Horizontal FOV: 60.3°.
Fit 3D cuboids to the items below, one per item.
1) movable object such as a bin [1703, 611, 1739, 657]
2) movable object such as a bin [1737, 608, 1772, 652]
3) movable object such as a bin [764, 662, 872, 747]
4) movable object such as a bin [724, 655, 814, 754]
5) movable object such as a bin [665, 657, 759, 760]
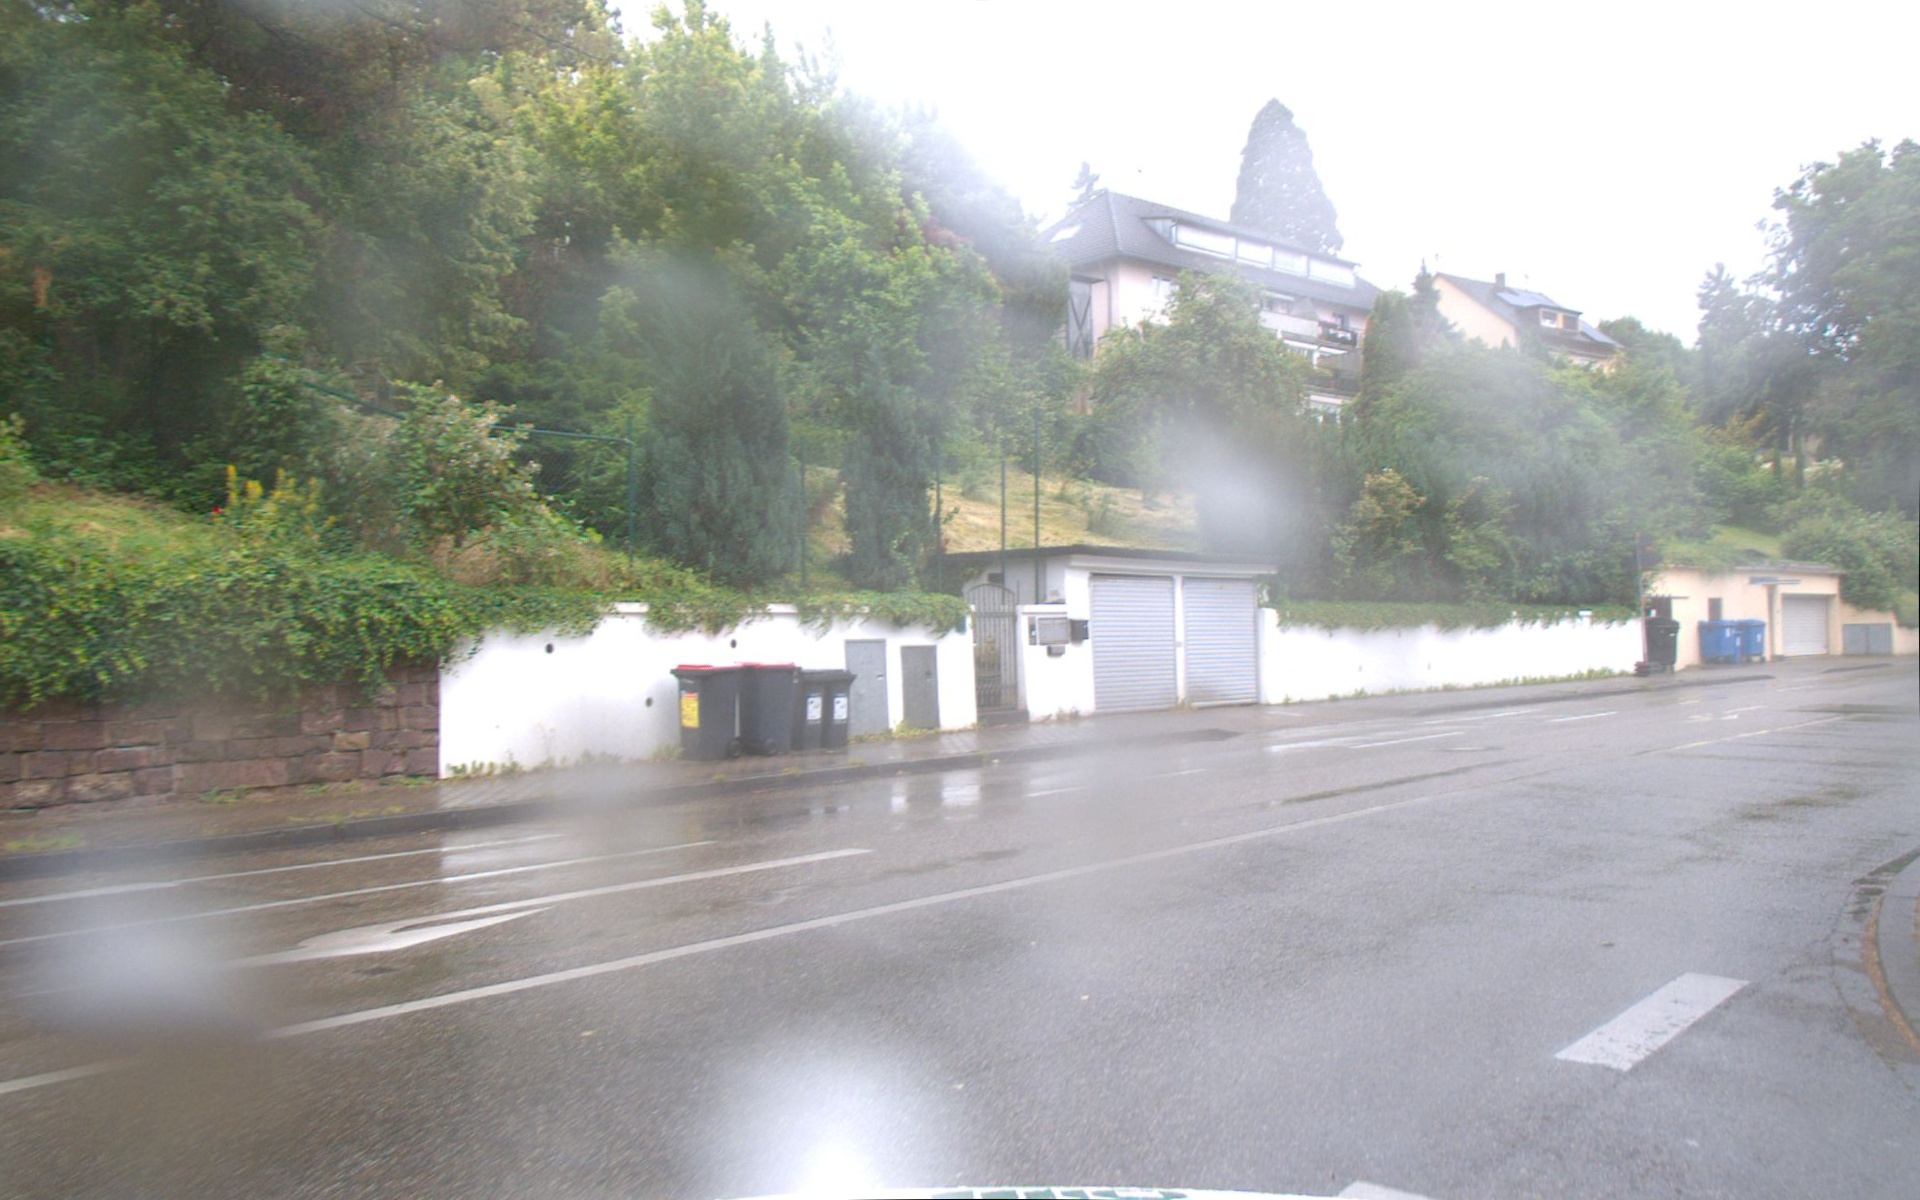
[{"bbox_3d":[23.673,1.057,51.444,0.827,1.359,0.702,-2,-1,-42],"label":"movable object such as a bin"},{"bbox_3d":[25.395,0.952,52.885,0.827,1.359,0.702,-2,-1,-42],"label":"movable object such as a bin"},{"bbox_3d":[-1.701,1.246,19.841,0.836,0.932,0.950,-3,-1,38],"label":"movable object such as a bin"},{"bbox_3d":[-2.182,1.185,18.927,0.624,1.079,0.790,-3,-2,39],"label":"movable object such as a bin"},{"bbox_3d":[-2.748,1.197,18.360,0.676,1.079,0.750,-3,-2,39],"label":"movable object such as a bin"}]
